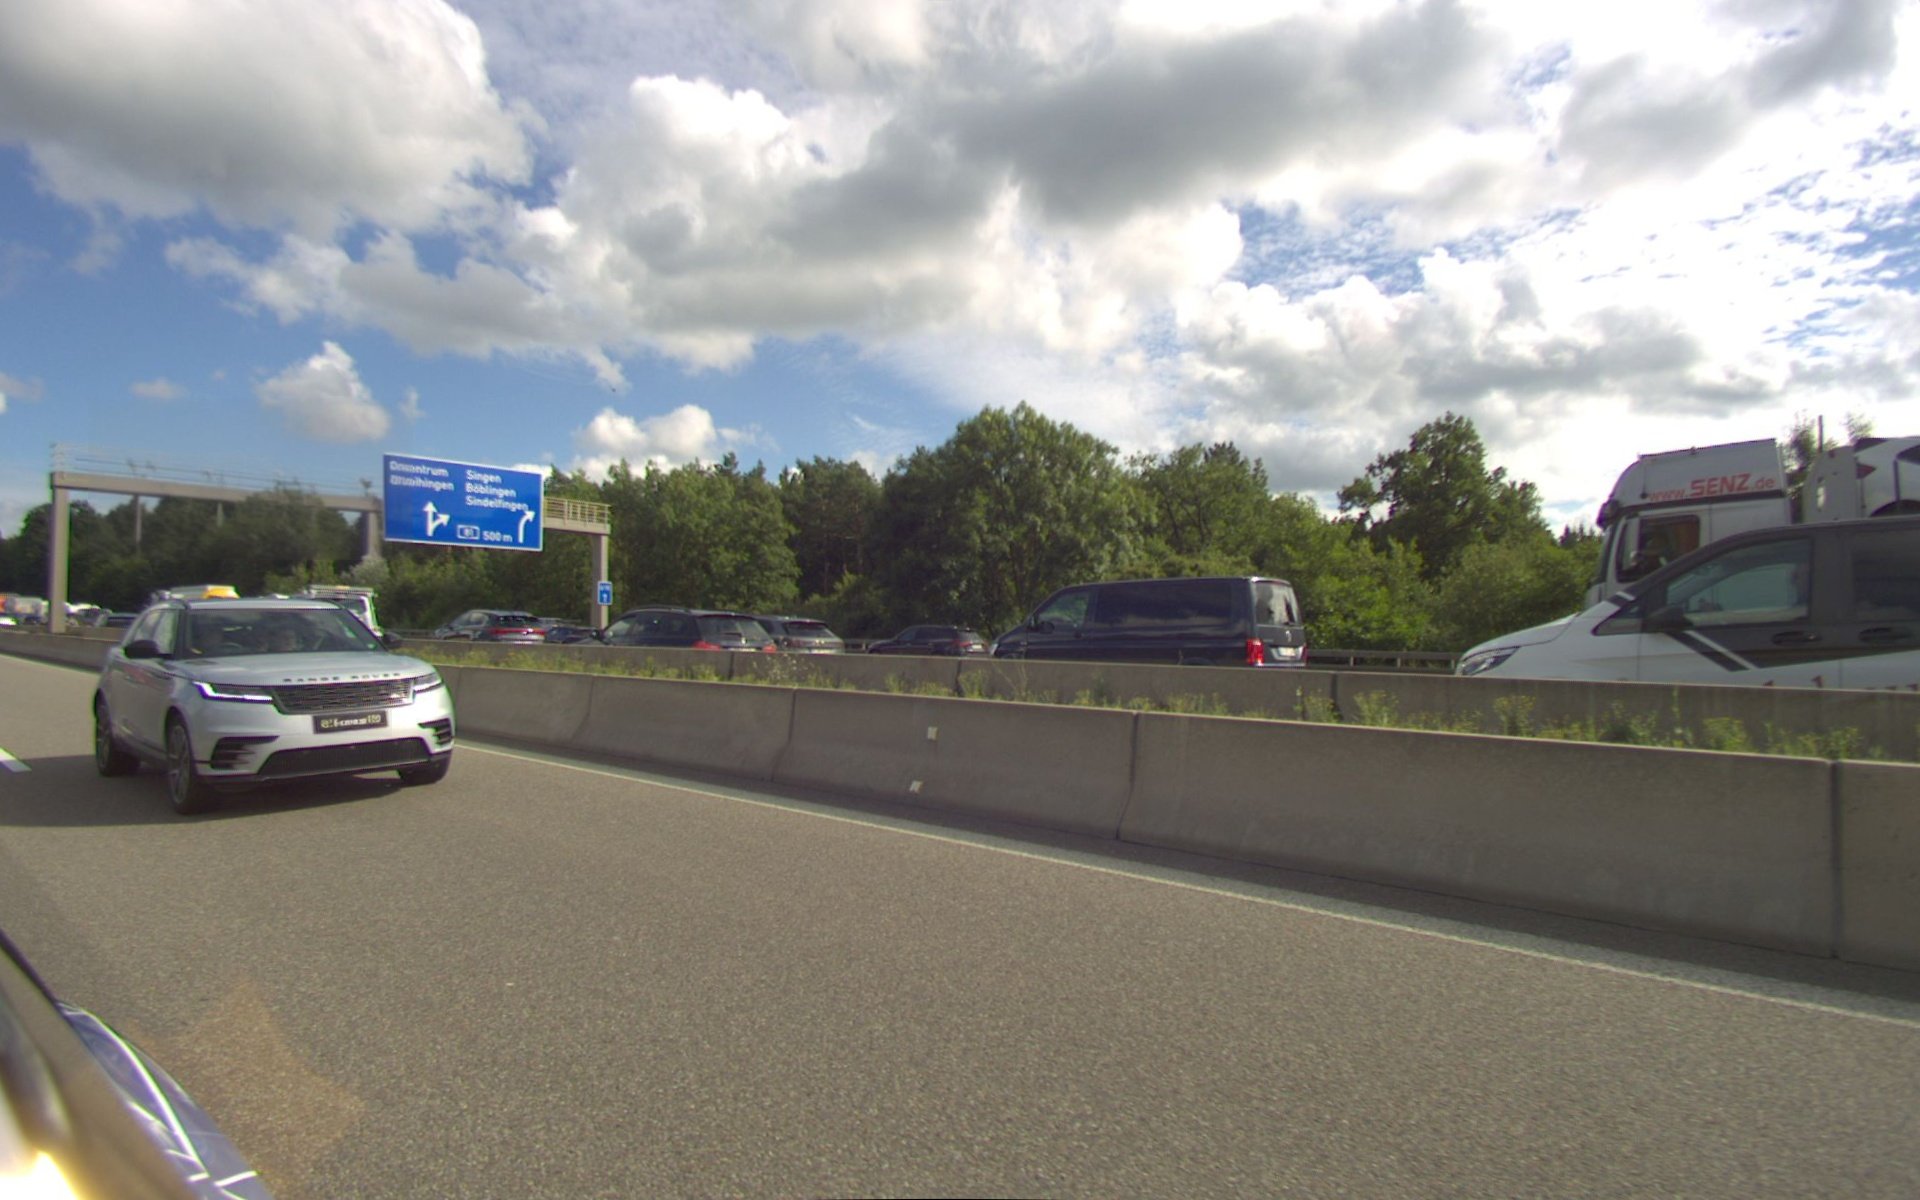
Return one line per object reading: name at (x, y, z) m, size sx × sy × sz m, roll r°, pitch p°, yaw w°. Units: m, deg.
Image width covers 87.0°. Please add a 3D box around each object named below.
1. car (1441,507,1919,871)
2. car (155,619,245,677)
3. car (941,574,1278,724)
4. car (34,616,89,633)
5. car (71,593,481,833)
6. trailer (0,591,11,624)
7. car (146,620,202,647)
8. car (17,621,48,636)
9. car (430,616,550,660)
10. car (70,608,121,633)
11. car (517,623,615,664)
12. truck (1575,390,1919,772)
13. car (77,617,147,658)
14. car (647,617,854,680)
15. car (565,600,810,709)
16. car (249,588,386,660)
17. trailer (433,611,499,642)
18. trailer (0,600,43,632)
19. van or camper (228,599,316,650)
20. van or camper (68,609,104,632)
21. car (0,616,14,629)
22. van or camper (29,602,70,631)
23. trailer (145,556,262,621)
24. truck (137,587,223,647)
car at (6.236, 0.512, 6.608) m, size 5.276 × 2.116 × 1.972 m, roll 0°, pitch 0°, yaw 42°
car at (-27.168, 1.657, 36.148) m, size 3.948 × 1.890 × 1.781 m, roll -1°, pitch 0°, yaw 41°
car at (2.085, 0.654, 15.046) m, size 4.695 × 1.890 × 1.891 m, roll -1°, pitch -1°, yaw 41°
car at (-50.861, 1.376, 57.274) m, size 5.460 × 0.934 × 1.650 m, roll -1°, pitch 0°, yaw 41°
car at (-6.432, 0.802, 9.226) m, size 5.103 × 1.619 × 1.880 m, roll -1°, pitch -1°, yaw 41°
trailer at (-130.619, 0.931, 136.361) m, size 13.171 × 4.352 × 2.612 m, roll 0°, pitch 0°, yaw 41°
car at (-42.282, 1.774, 54.418) m, size 4.534 × 1.334 × 1.547 m, roll -1°, pitch 0°, yaw 41°
car at (-83.483, 2.552, 91.104) m, size 3.588 × 1.266 × 1.646 m, roll -1°, pitch 0°, yaw 41°
car at (-13.452, 1.056, 28.859) m, size 4.162 × 1.148 × 1.548 m, roll -1°, pitch 0°, yaw 41°
car at (-61.097, 1.438, 71.503) m, size 4.780 × 1.668 × 1.987 m, roll -1°, pitch 0°, yaw 41°
car at (-15.849, 1.702, 40.642) m, size 4.408 × 1.510 × 1.871 m, roll -1°, pitch 0°, yaw 42°
truck at (11.305, -0.216, 12.688) m, size 5.710 × 4.266 × 2.823 m, roll -1°, pitch 0°, yaw 41°
car at (-39.643, 1.699, 47.267) m, size 4.936 × 1.812 × 1.749 m, roll -1°, pitch 0°, yaw 41°
car at (-4.437, 0.929, 20.909) m, size 4.882 × 1.085 × 1.623 m, roll 0°, pitch 0°, yaw 42°
car at (-4.298, 0.780, 15.657) m, size 3.999 × 1.382 × 1.678 m, roll -2°, pitch 2°, yaw 42°
car at (-17.565, 0.636, 27.614) m, size 4.177 × 1.815 × 2.065 m, roll -1°, pitch -1°, yaw 41°
trailer at (-27.738, 1.464, 56.740) m, size 4.348 × 1.591 × 1.806 m, roll 0°, pitch 0°, yaw 42°
trailer at (-112.725, 1.953, 121.425) m, size 10.214 × 3.686 × 2.858 m, roll -1°, pitch -1°, yaw 41°
van or camper at (-37.989, 1.261, 55.800) m, size 7.394 × 2.662 × 2.300 m, roll 0°, pitch 0°, yaw 42°
van or camper at (-82.617, 1.906, 95.623) m, size 2.257 × 2.026 × 4.691 m, roll -1°, pitch 0°, yaw -45°
car at (-71.372, 1.651, 74.798) m, size 4.485 × 0.947 × 1.626 m, roll -1°, pitch 0°, yaw 41°
van or camper at (-97.629, 1.702, 108.437) m, size 7.479 × 2.911 × 2.444 m, roll 1°, pitch 1°, yaw 41°
trailer at (-49.568, -0.611, 66.073) m, size 13.253 × 3.857 × 3.376 m, roll -1°, pitch -1°, yaw 41°
truck at (-53.975, 1.148, 69.972) m, size 6.798 × 3.929 × 3.382 m, roll -1°, pitch 0°, yaw 41°
